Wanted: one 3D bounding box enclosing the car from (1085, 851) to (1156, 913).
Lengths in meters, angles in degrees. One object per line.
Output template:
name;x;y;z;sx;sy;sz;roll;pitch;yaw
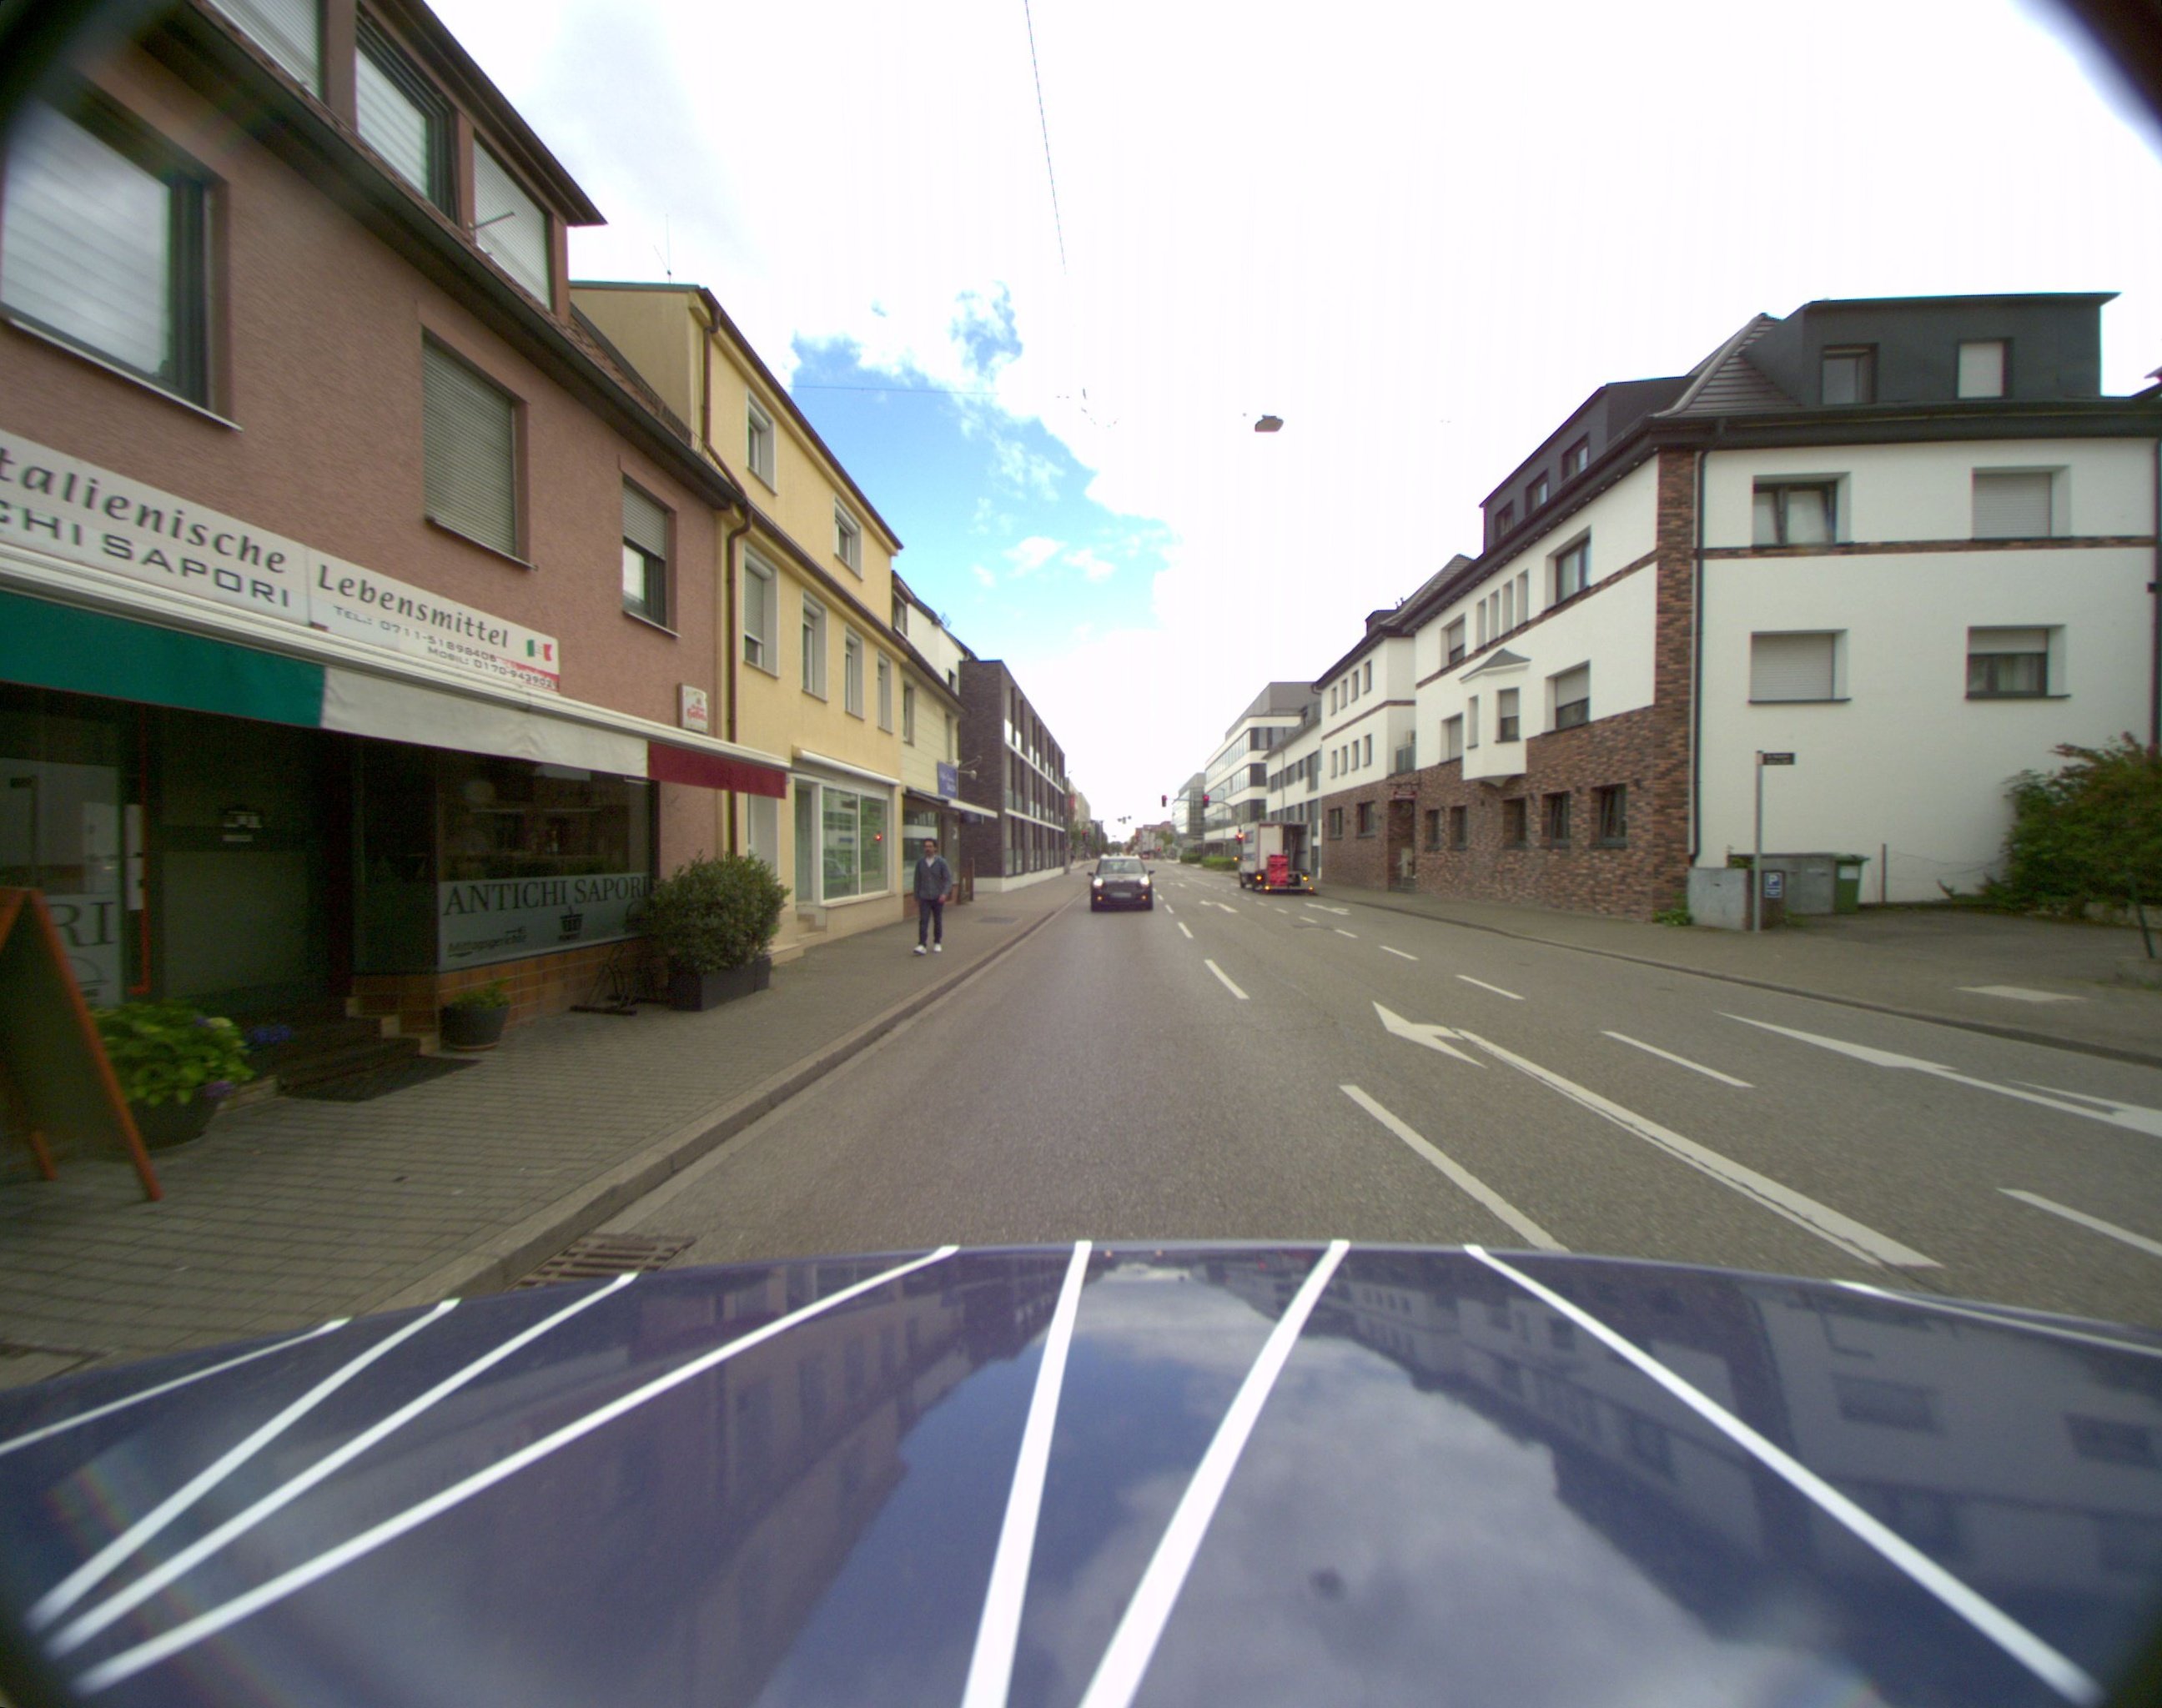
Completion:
car;1.206;0.765;22.854;1.847;1.571;4.430;-3;0;4

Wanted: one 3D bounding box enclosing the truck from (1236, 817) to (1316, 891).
truck;8.604;-0.024;34.212;2.467;2.954;5.966;-1;1;5

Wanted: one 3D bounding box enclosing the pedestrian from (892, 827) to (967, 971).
pedestrian;-2.288;0.654;11.605;0.826;2.063;1.011;2;1;2
